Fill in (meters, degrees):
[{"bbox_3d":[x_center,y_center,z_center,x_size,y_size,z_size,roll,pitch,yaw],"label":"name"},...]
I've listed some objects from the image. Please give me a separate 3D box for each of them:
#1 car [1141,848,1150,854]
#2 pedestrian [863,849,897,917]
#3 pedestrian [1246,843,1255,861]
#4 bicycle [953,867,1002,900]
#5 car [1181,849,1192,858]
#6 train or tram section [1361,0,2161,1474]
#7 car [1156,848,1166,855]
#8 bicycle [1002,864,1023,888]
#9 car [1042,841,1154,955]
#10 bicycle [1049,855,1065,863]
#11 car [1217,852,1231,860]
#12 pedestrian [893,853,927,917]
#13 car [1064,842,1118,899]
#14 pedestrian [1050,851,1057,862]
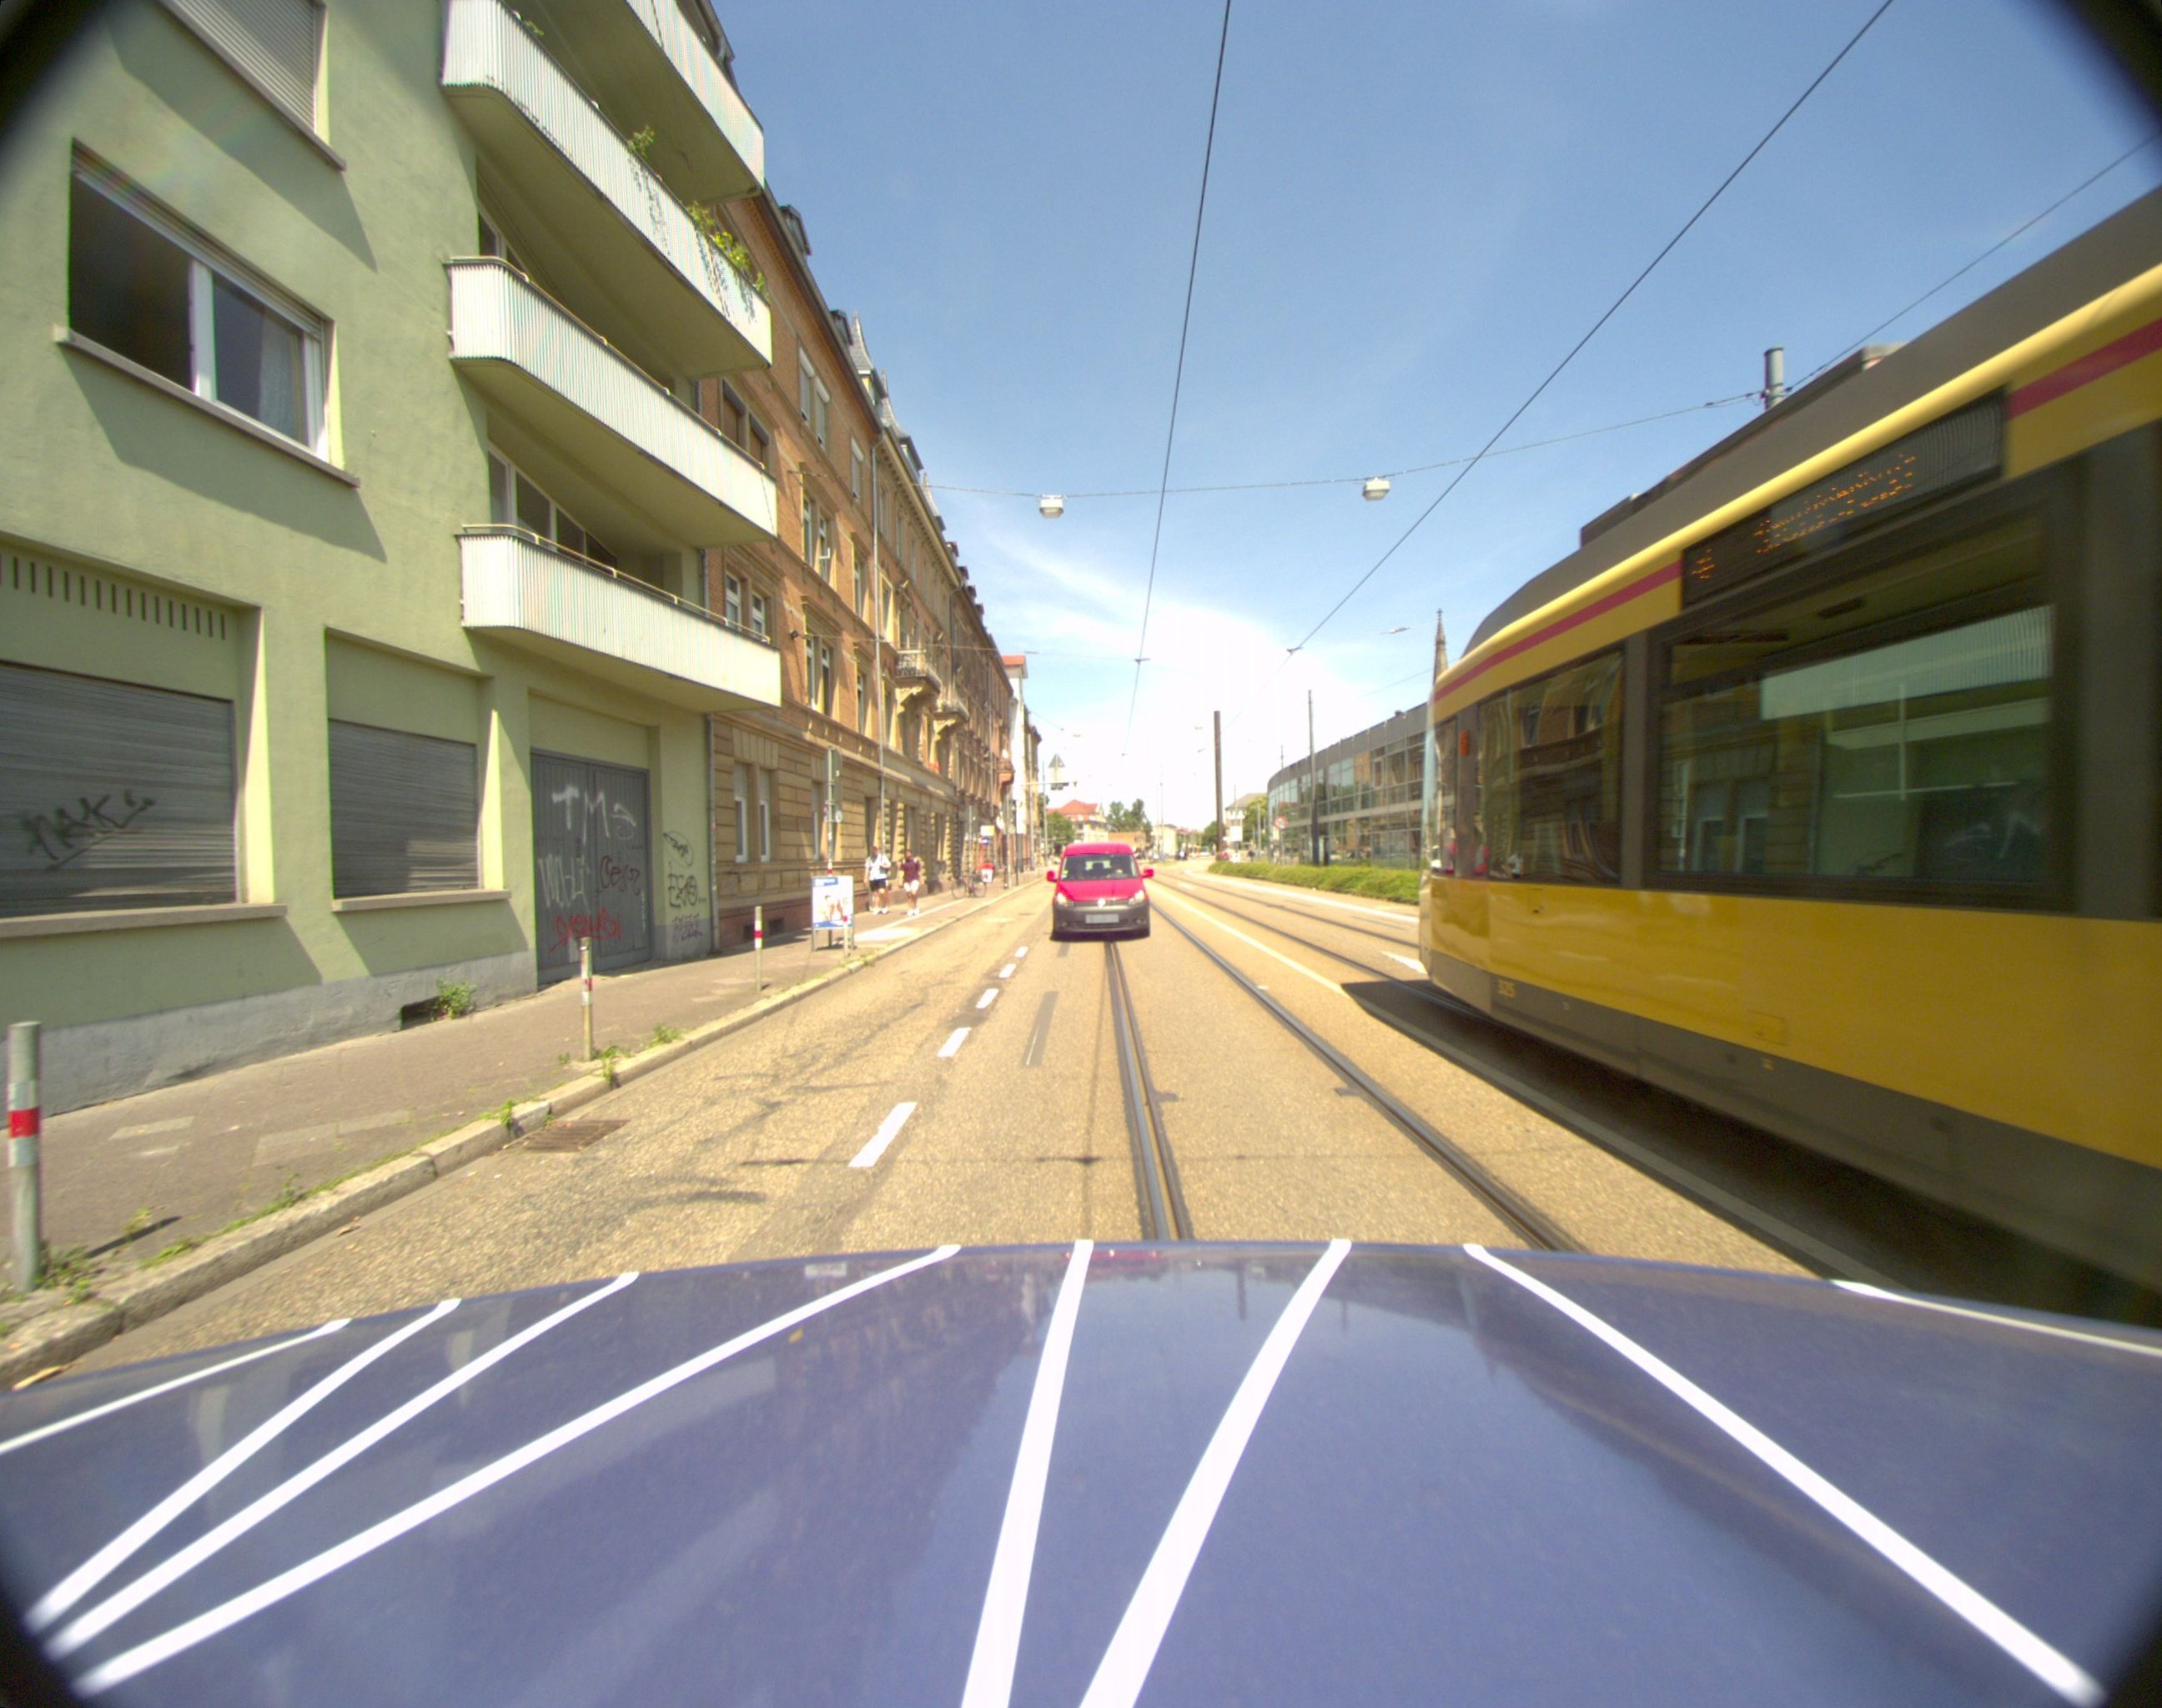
[{"bbox_3d":[15.127,-0.762,178.620,1.675,1.453,3.903,-1,0,1],"label":"car"},{"bbox_3d":[-5.538,0.786,20.946,0.704,1.838,0.643,2,1,2],"label":"pedestrian"},{"bbox_3d":[16.125,-0.180,72.320,0.729,1.632,0.820,-2,1,5],"label":"pedestrian"},{"bbox_3d":[-3.829,1.088,28.348,0.499,1.124,2.247,-1,1,30],"label":"bicycle"},{"bbox_3d":[19.865,-0.111,143.440,1.826,1.617,4.526,0,0,4],"label":"car"},{"bbox_3d":[4.070,-0.291,0.391,2.968,3.559,13.422,-2,0,1],"label":"train or tram section"},{"bbox_3d":[17.689,-0.660,168.205,1.998,1.521,5.131,0,1,2],"label":"car"},{"bbox_3d":[-3.262,1.028,36.340,0.448,1.090,2.424,-1,0,7],"label":"bicycle"},{"bbox_3d":[0.389,0.713,14.407,1.755,1.802,4.098,-2,0,3],"label":"car"},{"bbox_3d":[-3.763,0.746,118.309,2.225,1.243,1.096,-2,0,-43],"label":"bicycle"},{"bbox_3d":[24.706,0.343,131.058,1.762,1.359,4.289,-2,0,3],"label":"car"},{"bbox_3d":[-4.639,0.829,20.675,0.722,1.710,0.643,-1,1,2],"label":"pedestrian"},{"bbox_3d":[0.376,0.574,28.942,1.874,1.954,3.823,-2,0,1],"label":"car"},{"bbox_3d":[-4.256,0.384,117.869,0.826,1.765,0.812,-3,2,-42],"label":"pedestrian"}]
